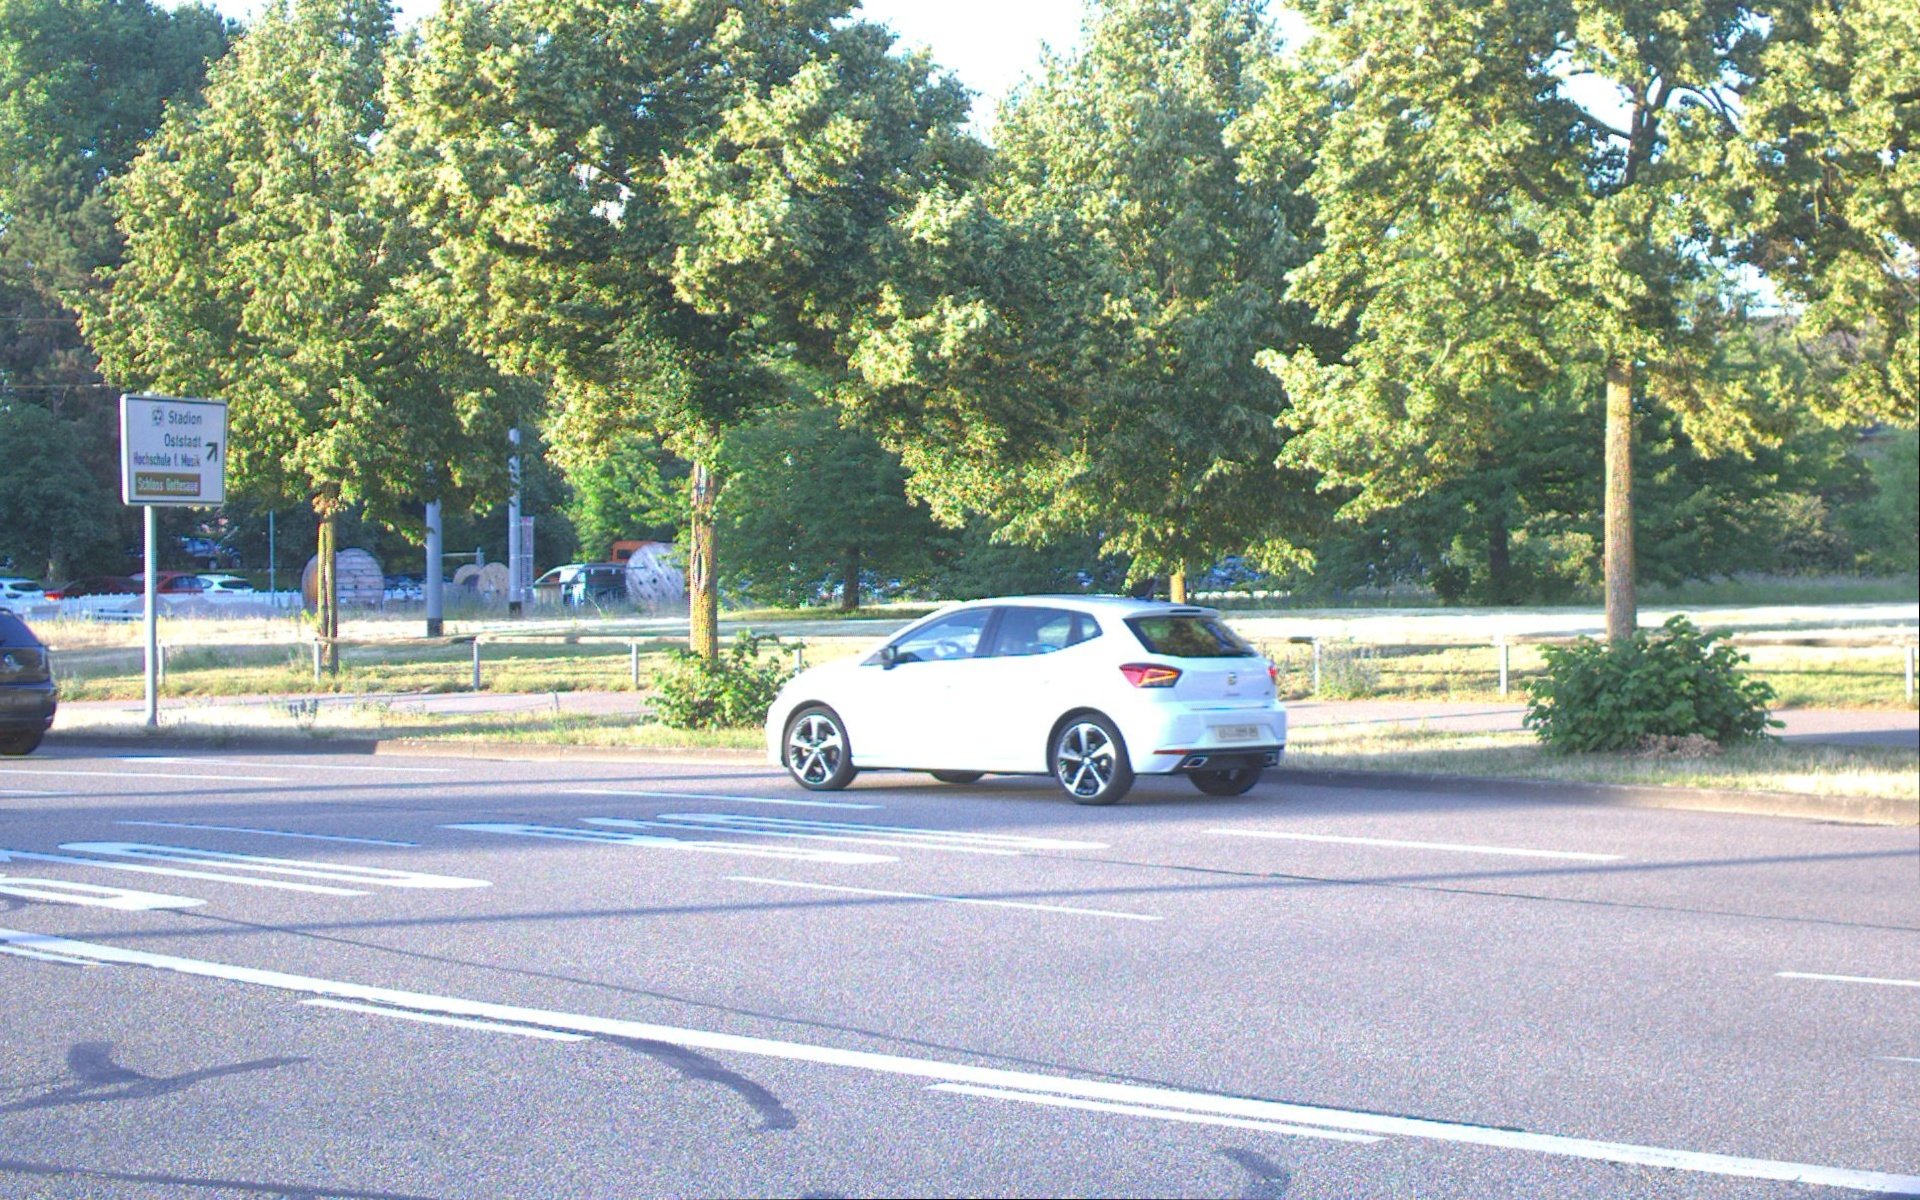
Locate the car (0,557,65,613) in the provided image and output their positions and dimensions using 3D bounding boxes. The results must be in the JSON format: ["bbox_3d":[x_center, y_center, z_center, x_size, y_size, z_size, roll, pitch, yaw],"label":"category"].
[{"bbox_3d":[-35.214,-0.534,125.815,4.582,2.007,2.001,-1,1,-9],"label":"car"}]

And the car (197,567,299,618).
[{"bbox_3d":[-26.781,-0.302,129.286,1.994,1.746,4.597,-1,2,-37],"label":"car"}]

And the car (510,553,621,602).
[{"bbox_3d":[-13.211,-0.760,114.888,1.734,1.612,3.998,-1,1,-41],"label":"car"}]

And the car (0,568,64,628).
[{"bbox_3d":[-33.130,-0.077,117.681,4.582,2.007,2.001,-1,1,-9],"label":"car"}]

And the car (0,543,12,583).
[{"bbox_3d":[-42.391,-1.557,145.373,3.988,1.700,2.000,0,1,7],"label":"car"}]

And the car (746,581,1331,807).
[{"bbox_3d":[0.518,0.614,24.897,3.968,1.449,1.863,1,2,42],"label":"car"}]

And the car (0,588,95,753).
[{"bbox_3d":[-10.212,0.618,31.667,4.155,1.449,1.865,0,1,27],"label":"car"}]

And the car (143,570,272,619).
[{"bbox_3d":[-25.353,-0.189,115.831,3.994,1.598,1.996,0,1,33],"label":"car"}]

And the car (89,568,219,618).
[{"bbox_3d":[-26.757,-0.245,114.101,3.994,1.598,1.996,0,1,33],"label":"car"}]
